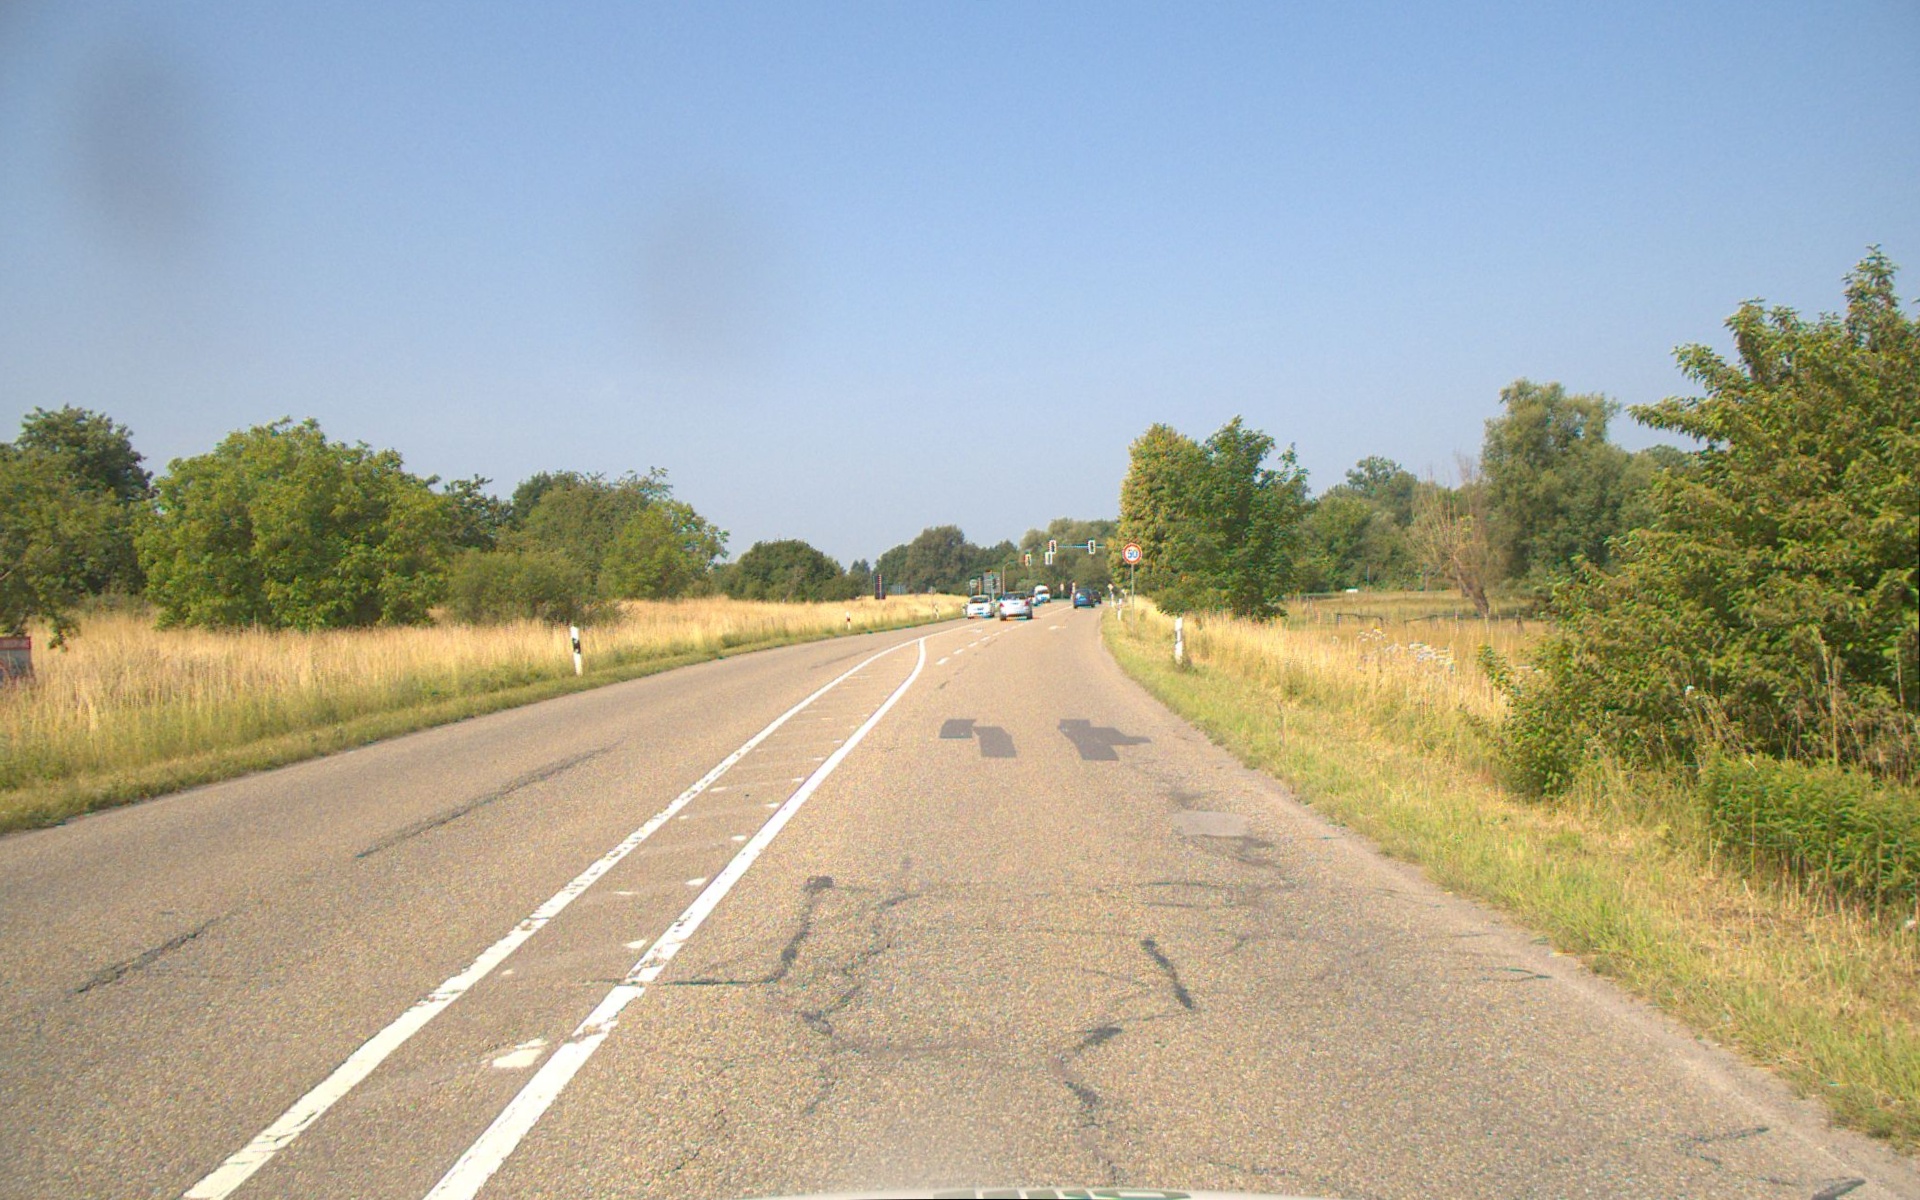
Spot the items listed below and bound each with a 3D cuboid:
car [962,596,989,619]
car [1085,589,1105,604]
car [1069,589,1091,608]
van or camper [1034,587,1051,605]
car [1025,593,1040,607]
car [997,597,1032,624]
[{"bbox_3d":[1.108,0.509,119.422,1.774,1.613,4.226,0,0,3],"label":"car"},{"bbox_3d":[14.393,-0.367,176.182,1.803,1.579,4.000,1,0,0],"label":"car"},{"bbox_3d":[10.508,-0.116,144.340,1.777,1.547,4.003,-2,0,5],"label":"car"},{"bbox_3d":[12.846,-0.567,257.755,2.217,2.757,5.266,1,0,6],"label":"van or camper"},{"bbox_3d":[9.594,-0.022,218.497,1.796,1.724,3.862,-1,0,6],"label":"car"},{"bbox_3d":[3.180,0.605,96.070,1.859,1.538,4.002,1,0,4],"label":"car"}]
